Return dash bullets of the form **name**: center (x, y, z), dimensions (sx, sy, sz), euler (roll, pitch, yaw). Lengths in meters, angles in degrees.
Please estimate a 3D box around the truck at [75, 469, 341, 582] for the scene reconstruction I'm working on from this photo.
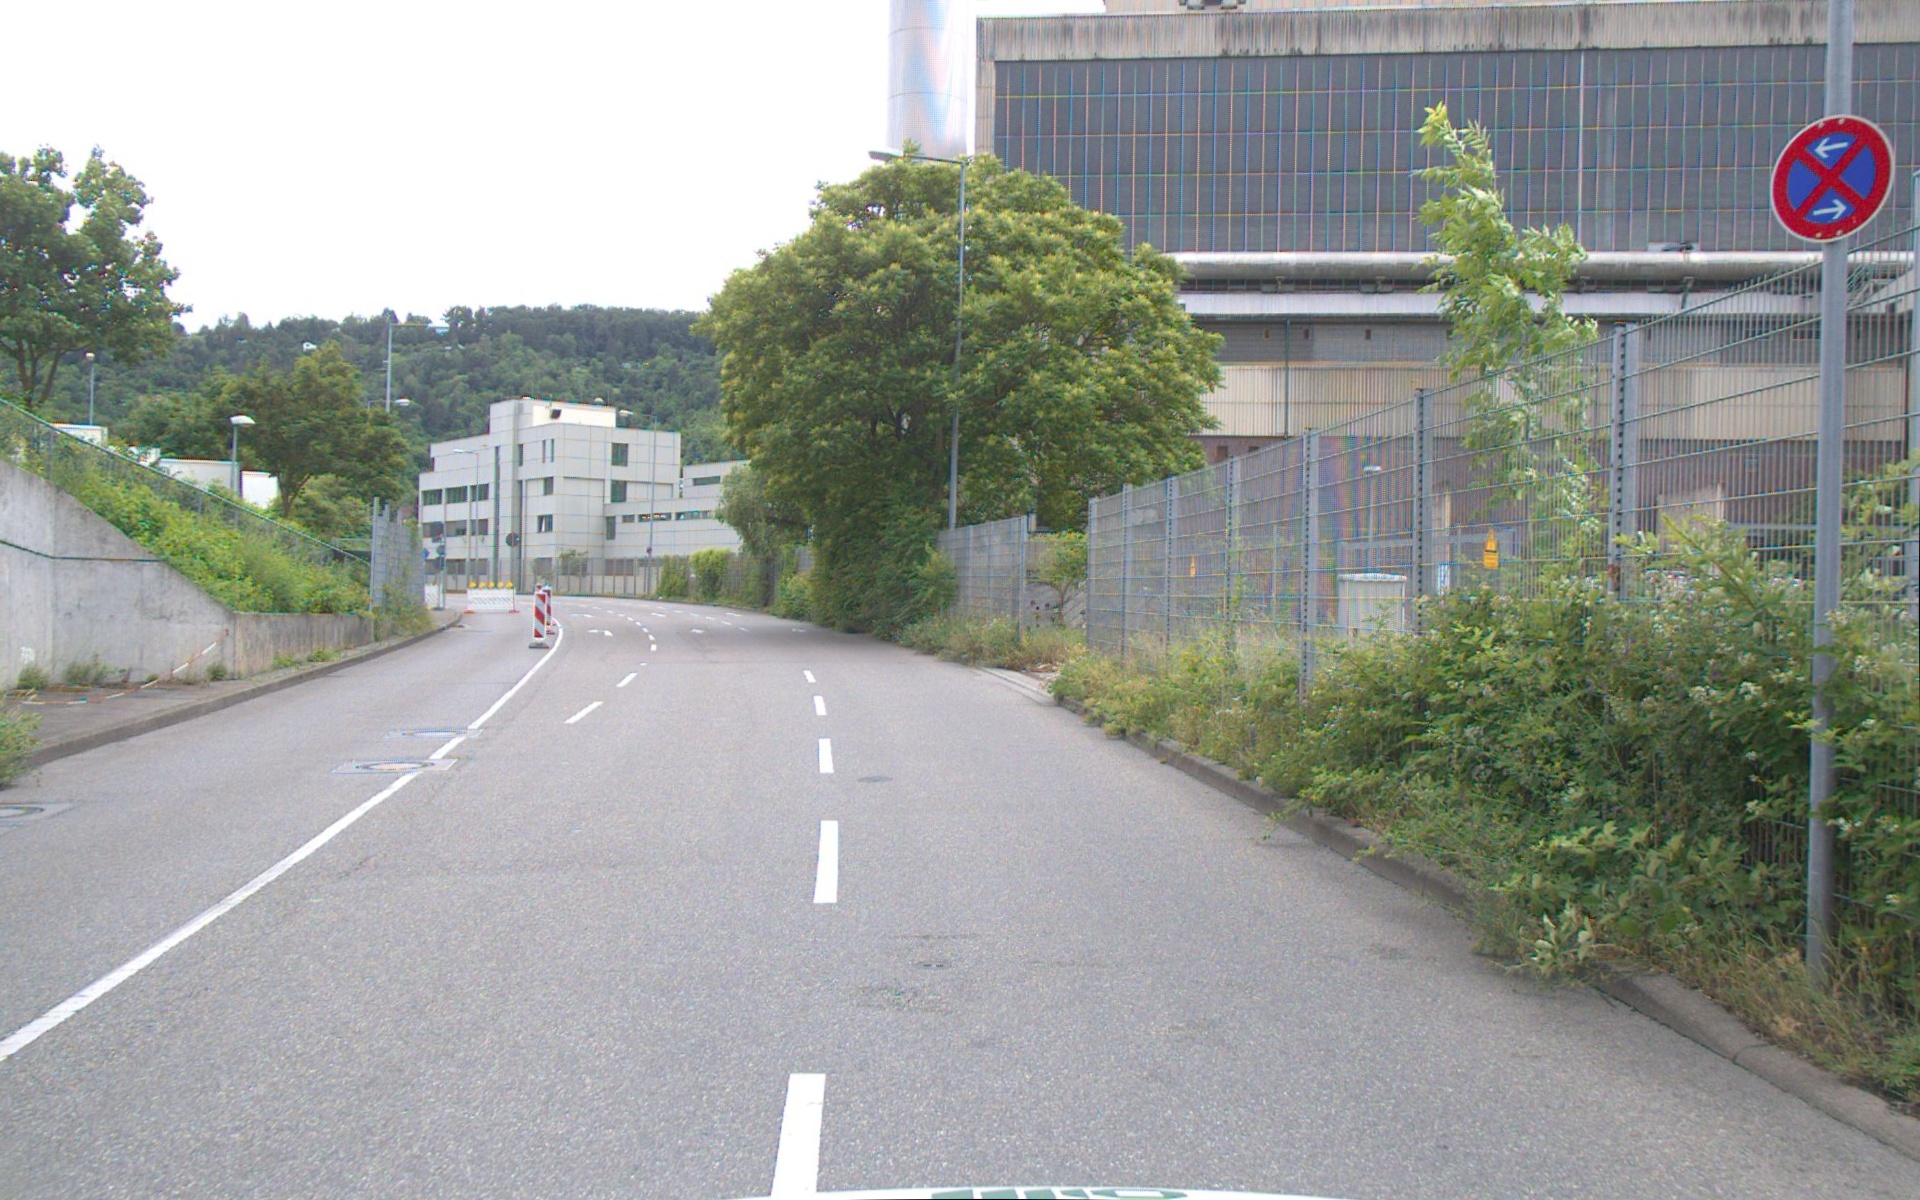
- **truck**: center (-30.144, -2.895, 66.752), dimensions (9.491, 4.061, 3.030), euler (1, -1, -24)

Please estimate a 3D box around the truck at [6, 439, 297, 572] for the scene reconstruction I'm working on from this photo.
- **truck**: center (-25.505, -2.843, 52.399), dimensions (7.789, 3.600, 3.009), euler (2, -2, -39)

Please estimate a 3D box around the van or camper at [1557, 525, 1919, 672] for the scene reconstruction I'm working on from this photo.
- **van or camper**: center (27.116, 0.064, 56.510), dimensions (11.604, 4.610, 5.467), euler (1, -1, -14)

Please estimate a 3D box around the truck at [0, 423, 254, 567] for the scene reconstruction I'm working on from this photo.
- **truck**: center (-24.835, -2.928, 47.661), dimensions (7.779, 3.600, 3.013), euler (2, -2, -36)

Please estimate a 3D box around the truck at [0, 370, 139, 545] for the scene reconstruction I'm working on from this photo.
- **truck**: center (-23.055, -3.271, 36.814), dimensions (8.082, 3.600, 3.007), euler (2, -2, -41)

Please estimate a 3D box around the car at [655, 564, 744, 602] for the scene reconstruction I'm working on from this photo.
- **car**: center (-17.447, -1.154, 110.686), dimensions (6.042, 2.302, 1.994), euler (2, 0, 34)

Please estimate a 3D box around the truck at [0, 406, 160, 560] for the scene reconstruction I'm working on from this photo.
- **truck**: center (-25.044, -3.024, 42.239), dimensions (7.796, 3.600, 3.007), euler (2, -2, -41)
